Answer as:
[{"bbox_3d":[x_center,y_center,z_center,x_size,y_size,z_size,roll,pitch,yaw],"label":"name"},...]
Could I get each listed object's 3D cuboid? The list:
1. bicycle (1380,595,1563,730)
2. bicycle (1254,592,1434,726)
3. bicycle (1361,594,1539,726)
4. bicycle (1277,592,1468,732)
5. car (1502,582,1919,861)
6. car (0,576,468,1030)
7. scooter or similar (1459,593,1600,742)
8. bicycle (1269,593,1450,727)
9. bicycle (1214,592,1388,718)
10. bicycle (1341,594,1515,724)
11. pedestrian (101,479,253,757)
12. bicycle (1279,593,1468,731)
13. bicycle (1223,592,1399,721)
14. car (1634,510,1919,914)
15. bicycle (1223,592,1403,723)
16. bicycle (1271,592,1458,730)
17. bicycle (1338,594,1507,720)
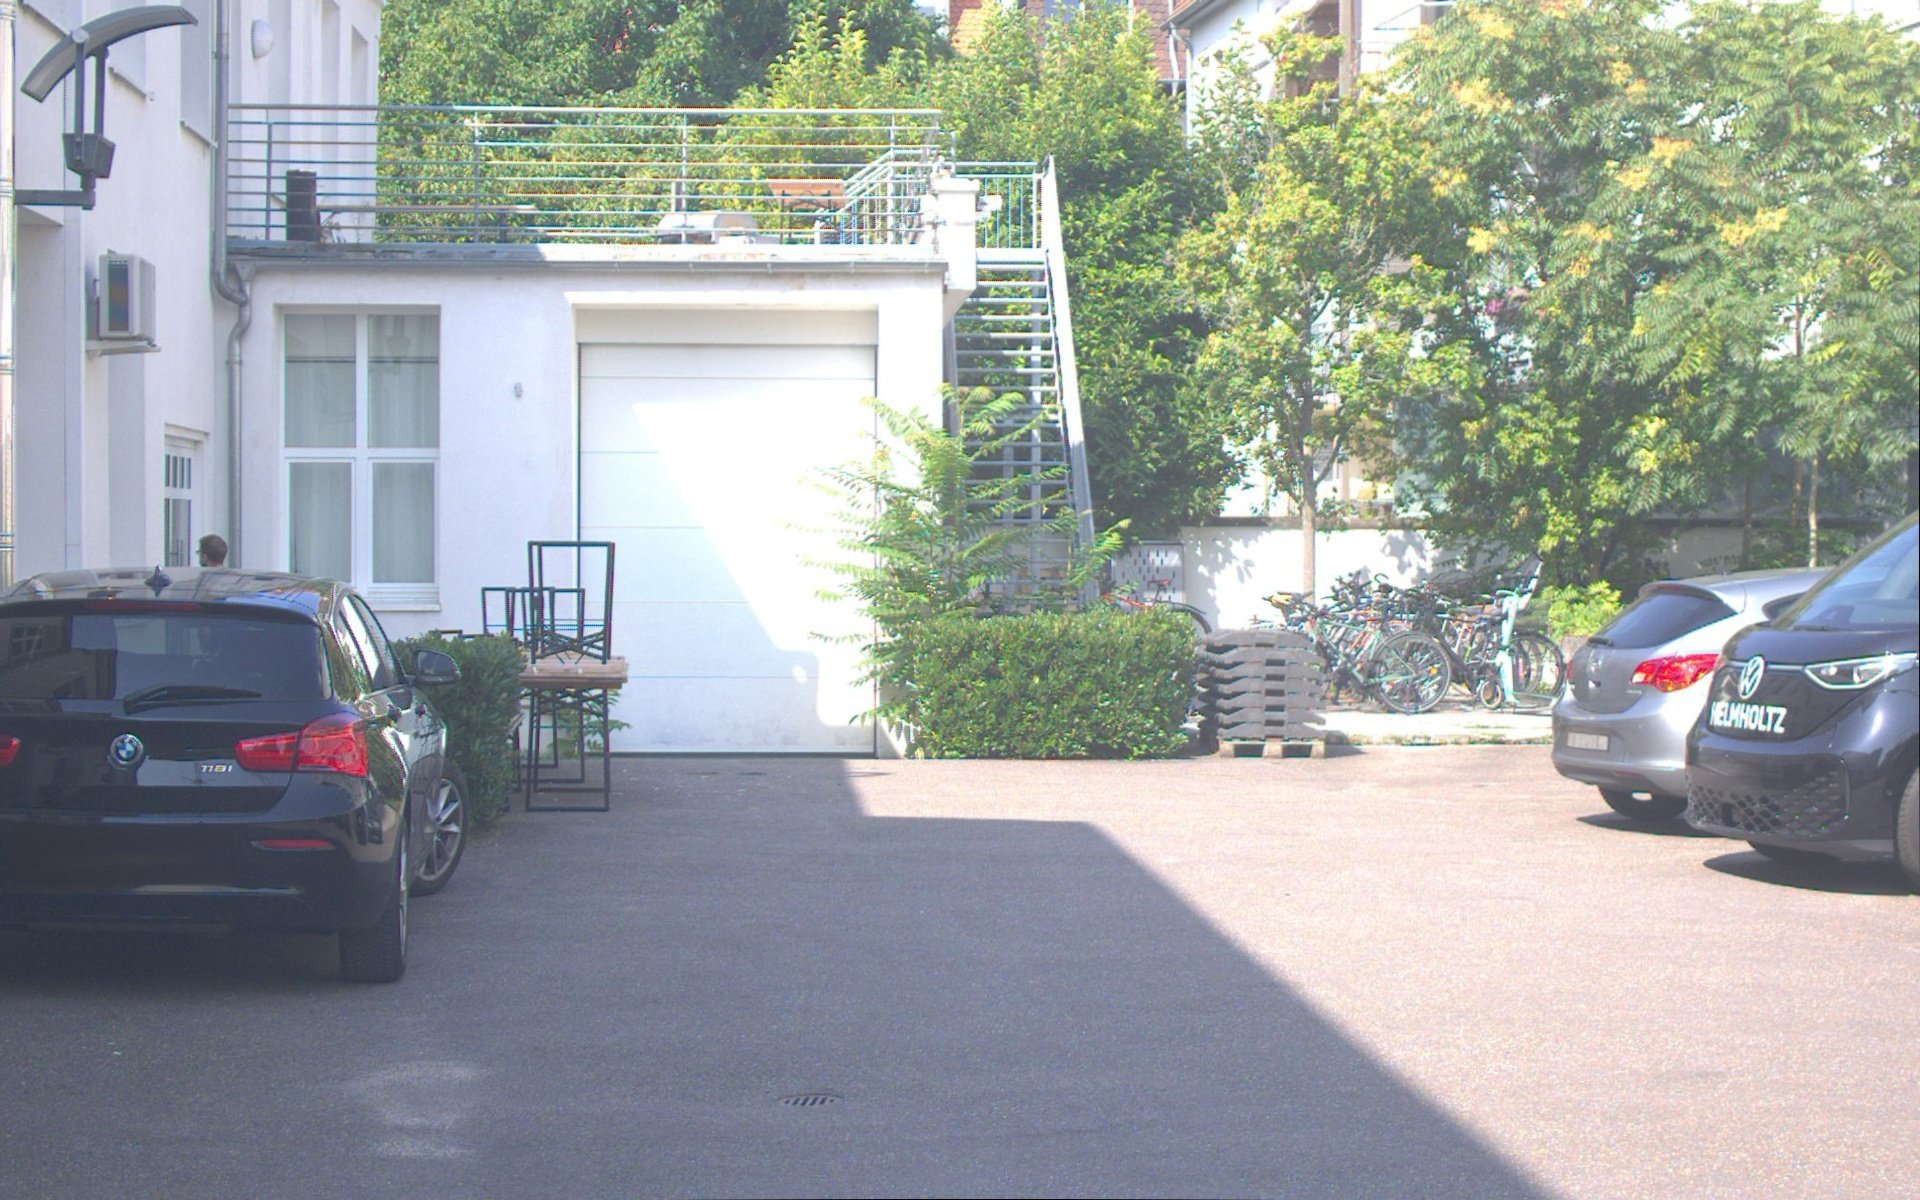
[{"bbox_3d":[4.631,0.559,31.117,1.624,1.210,0.327,0,0,12],"label":"bicycle"},{"bbox_3d":[3.525,0.538,31.531,1.624,1.210,0.327,0,0,10],"label":"bicycle"},{"bbox_3d":[4.564,0.556,31.975,1.624,1.210,0.424,0,0,10],"label":"bicycle"},{"bbox_3d":[3.607,0.543,30.103,1.623,1.210,0.327,0,0,-1],"label":"bicycle"},{"bbox_3d":[5.250,0.649,19.475,3.931,1.477,1.775,0,0,-12],"label":"car"},{"bbox_3d":[-2.851,0.649,13.064,1.688,1.454,3.923,1,0,-5],"label":"car"},{"bbox_3d":[4.951,0.574,29.919,0.378,1.256,1.348,-1,1,-35],"label":"scooter or similar"},{"bbox_3d":[3.622,0.541,31.171,1.623,1.210,0.327,0,0,7],"label":"bicycle"},{"bbox_3d":[3.313,0.530,33.437,1.623,1.210,0.424,0,0,-8],"label":"bicycle"},{"bbox_3d":[4.432,0.552,32.547,1.624,1.210,0.424,0,0,10],"label":"bicycle"},{"bbox_3d":[-5.795,0.127,25.488,0.913,2.007,0.935,1,0,-3],"label":"pedestrian"},{"bbox_3d":[3.656,0.543,30.427,1.623,1.210,0.327,0,0,-1],"label":"bicycle"},{"bbox_3d":[3.350,0.532,32.836,1.622,1.210,0.424,0,0,-8],"label":"bicycle"},{"bbox_3d":[5.741,0.506,16.609,4.499,1.788,1.883,0,0,-12],"label":"car"},{"bbox_3d":[3.300,0.533,32.199,1.623,1.210,0.424,0,0,-3],"label":"bicycle"},{"bbox_3d":[3.611,0.542,30.719,1.623,1.210,0.327,0,0,-1],"label":"bicycle"},{"bbox_3d":[4.520,0.551,33.578,1.624,1.210,0.424,0,0,10],"label":"bicycle"}]
